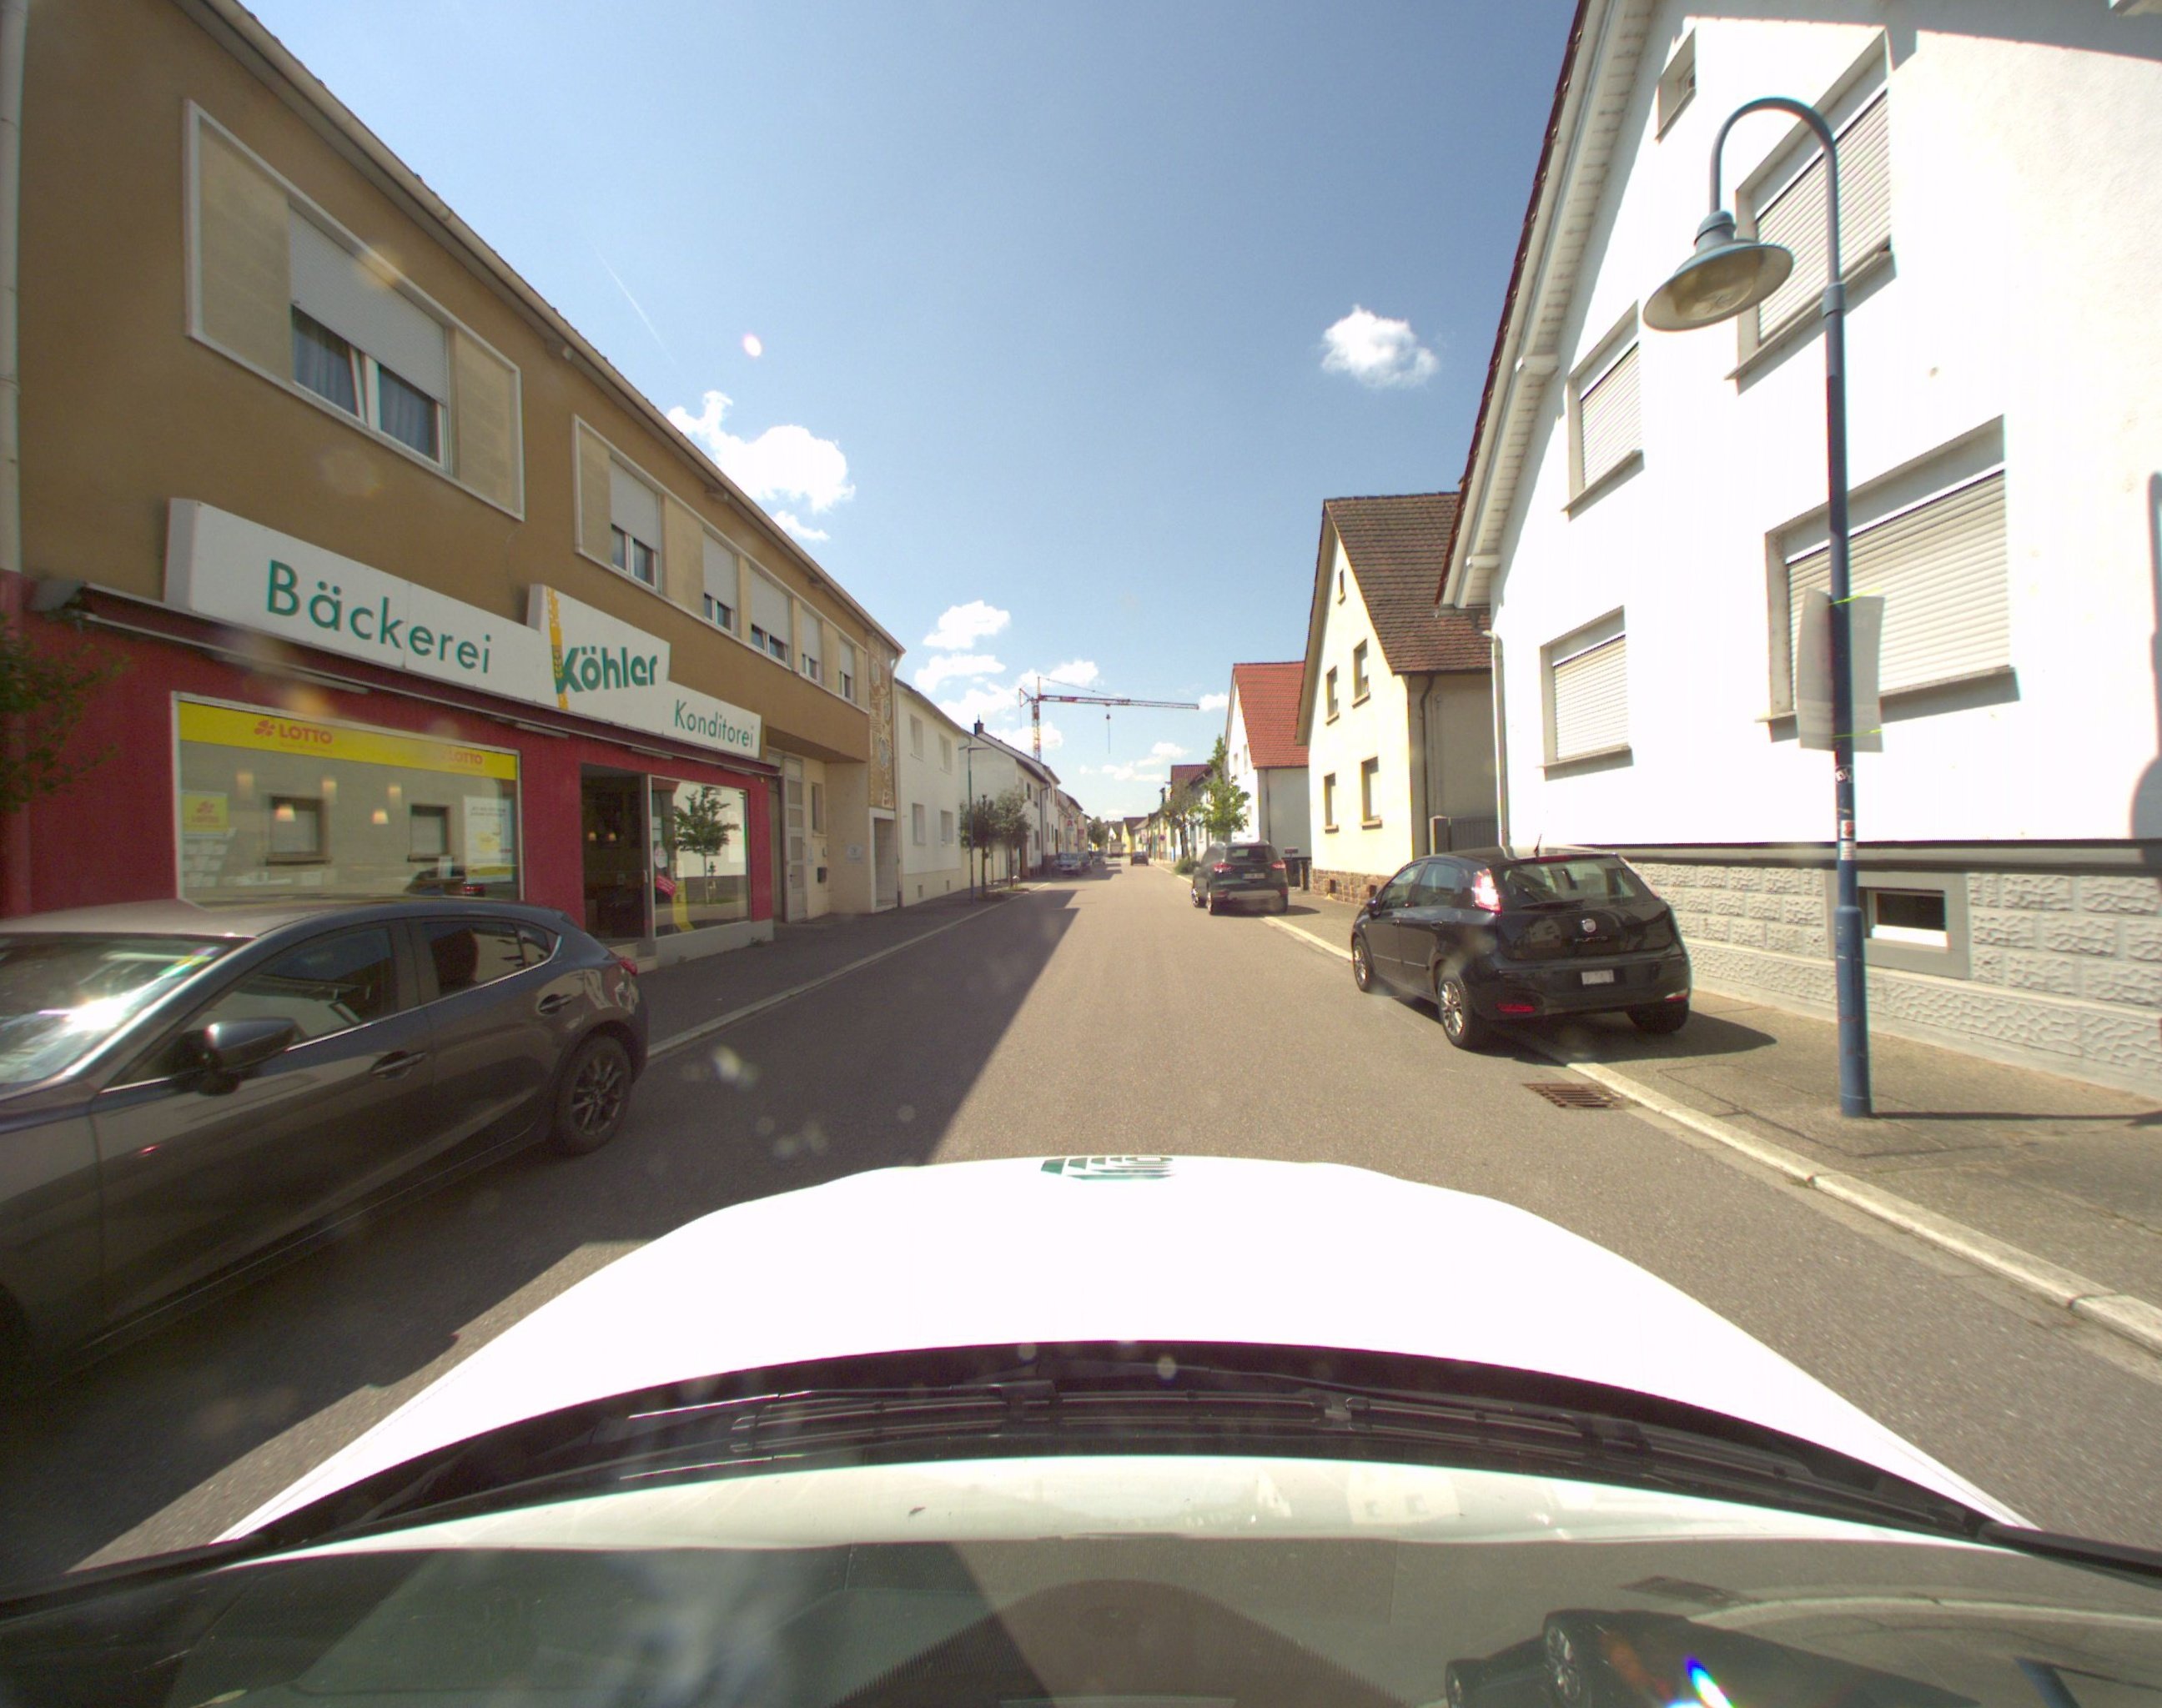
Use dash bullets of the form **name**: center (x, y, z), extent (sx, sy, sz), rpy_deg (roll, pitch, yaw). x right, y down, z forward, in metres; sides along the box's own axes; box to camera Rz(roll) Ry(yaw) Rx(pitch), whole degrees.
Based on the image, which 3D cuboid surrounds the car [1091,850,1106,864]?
- **car**: center (2.129, 0.350, 98.465), extent (1.716, 1.555, 4.176), rpy_deg (-1, 0, 3)

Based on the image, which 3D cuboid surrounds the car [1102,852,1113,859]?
- **car**: center (6.968, 0.329, 214.778), extent (1.823, 1.753, 4.210), rpy_deg (-3, 0, -13)

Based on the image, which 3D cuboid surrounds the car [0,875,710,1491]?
- **car**: center (-3.546, 0.905, 3.252), extent (1.760, 1.460, 4.442), rpy_deg (-2, 0, 5)

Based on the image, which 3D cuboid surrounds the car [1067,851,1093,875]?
- **car**: center (-0.053, 0.604, 59.008), extent (1.647, 1.609, 4.063), rpy_deg (-2, 0, 2)

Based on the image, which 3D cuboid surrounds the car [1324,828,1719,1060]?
- **car**: center (3.650, 0.619, 7.644), extent (1.610, 1.495, 3.974), rpy_deg (-4, 0, 3)

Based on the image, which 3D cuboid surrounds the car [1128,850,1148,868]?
- **car**: center (5.837, 0.472, 84.004), extent (1.776, 1.753, 4.002), rpy_deg (-3, 0, 2)

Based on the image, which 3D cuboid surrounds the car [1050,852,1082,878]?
- **car**: center (-0.933, 0.683, 52.585), extent (1.751, 1.525, 4.292), rpy_deg (-2, 0, 2)

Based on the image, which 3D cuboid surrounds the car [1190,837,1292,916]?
- **car**: center (3.841, 0.495, 20.258), extent (1.722, 1.717, 4.276), rpy_deg (-2, 0, 1)

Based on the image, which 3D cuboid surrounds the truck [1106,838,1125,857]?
- **truck**: center (7.605, -1.425, 182.093), extent (3.369, 3.865, 13.921), rpy_deg (-3, 0, 0)
